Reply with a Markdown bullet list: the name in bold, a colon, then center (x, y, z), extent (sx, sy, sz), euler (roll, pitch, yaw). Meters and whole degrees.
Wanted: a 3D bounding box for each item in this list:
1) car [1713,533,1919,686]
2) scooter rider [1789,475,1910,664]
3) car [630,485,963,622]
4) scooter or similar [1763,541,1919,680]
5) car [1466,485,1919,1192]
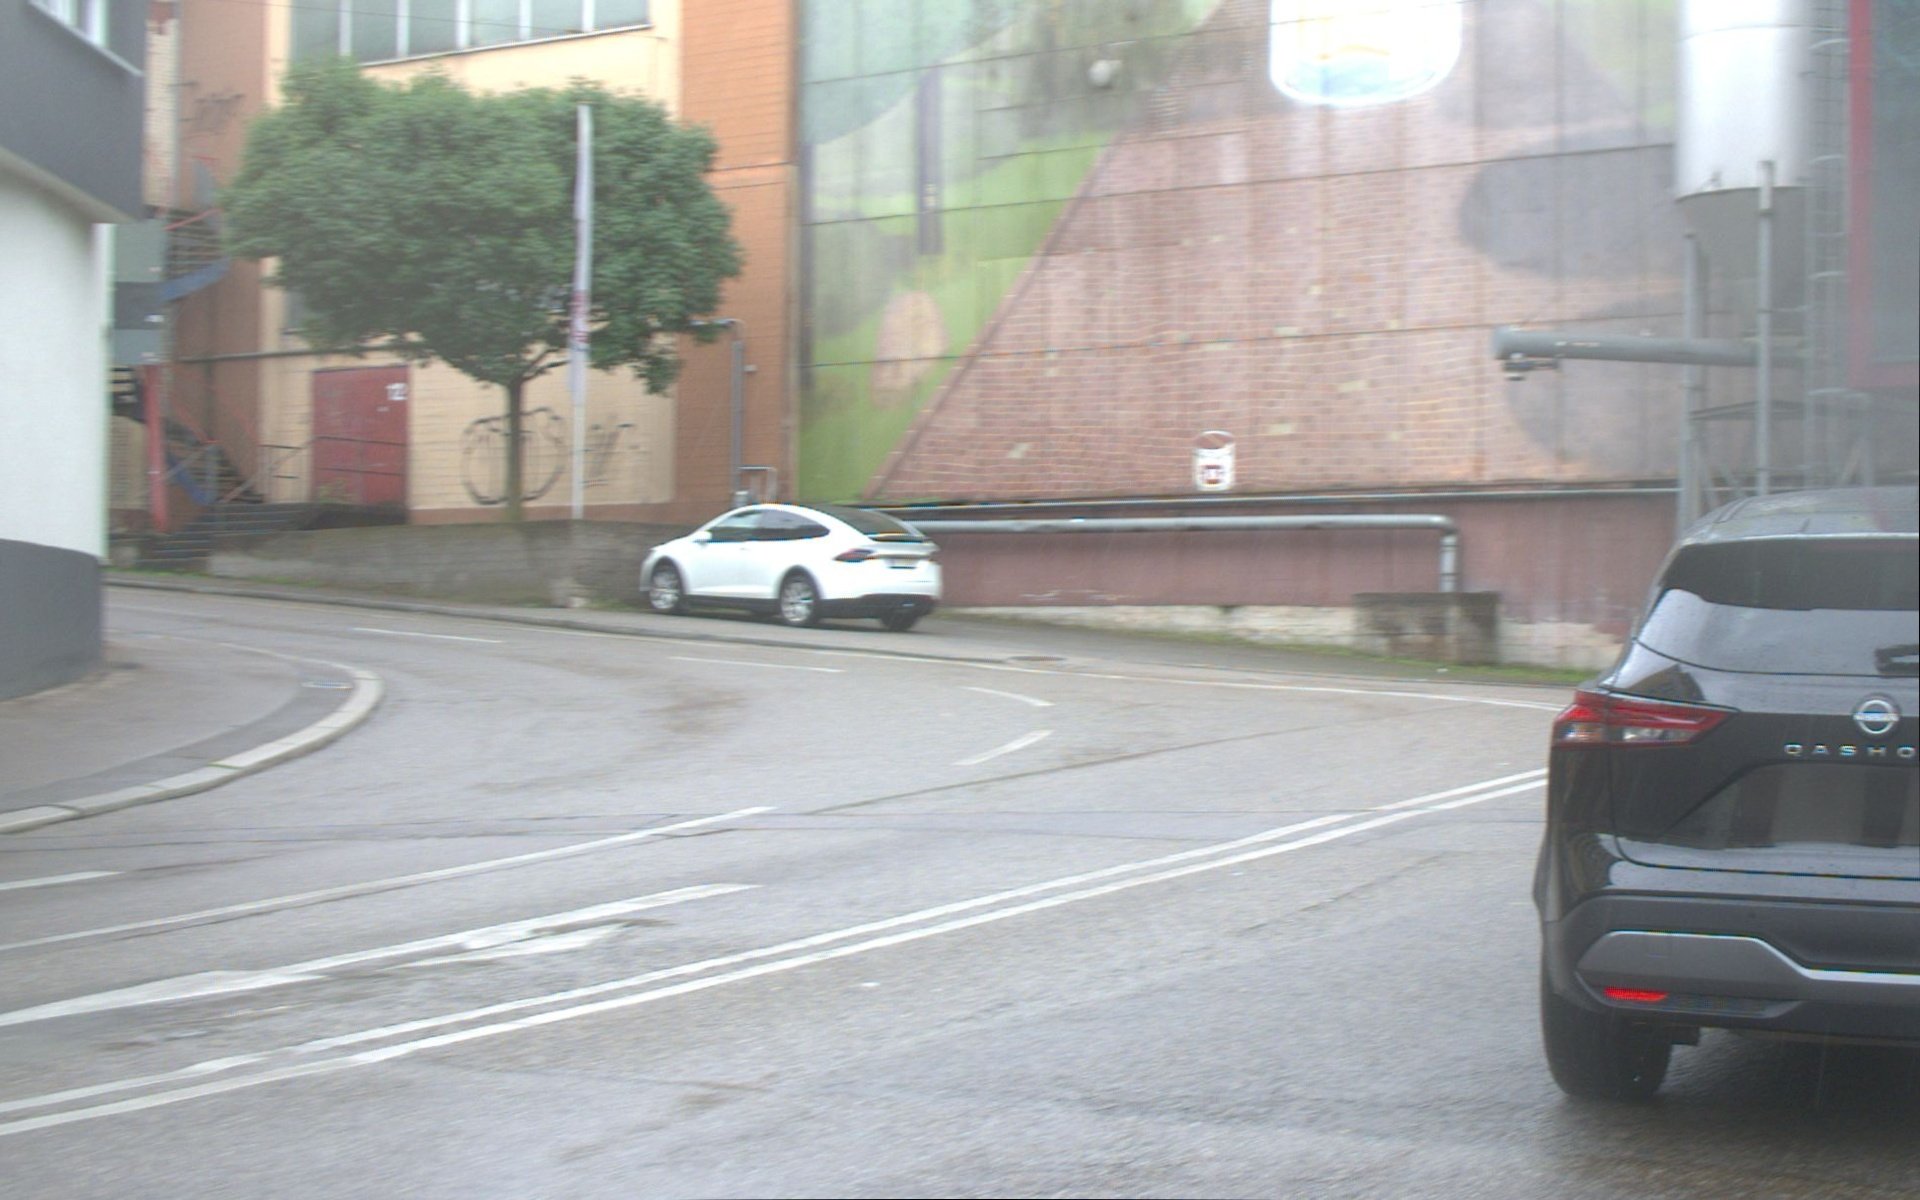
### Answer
- **car**: center (9.973, 0.058, 37.986), extent (1.873, 1.527, 3.985), euler (1, 2, 34)
- **scooter rider**: center (8.649, -0.301, 33.444), extent (0.802, 1.815, 0.782), euler (-1, 1, -30)
- **car**: center (-2.345, -0.670, 48.003), extent (1.853, 1.612, 4.913), euler (1, 2, -43)
- **scooter or similar**: center (8.622, 0.094, 33.494), extent (0.802, 1.318, 1.409), euler (-1, 1, -30)
- **car**: center (2.834, 0.488, 9.556), extent (1.883, 1.588, 3.916), euler (1, 2, 23)
